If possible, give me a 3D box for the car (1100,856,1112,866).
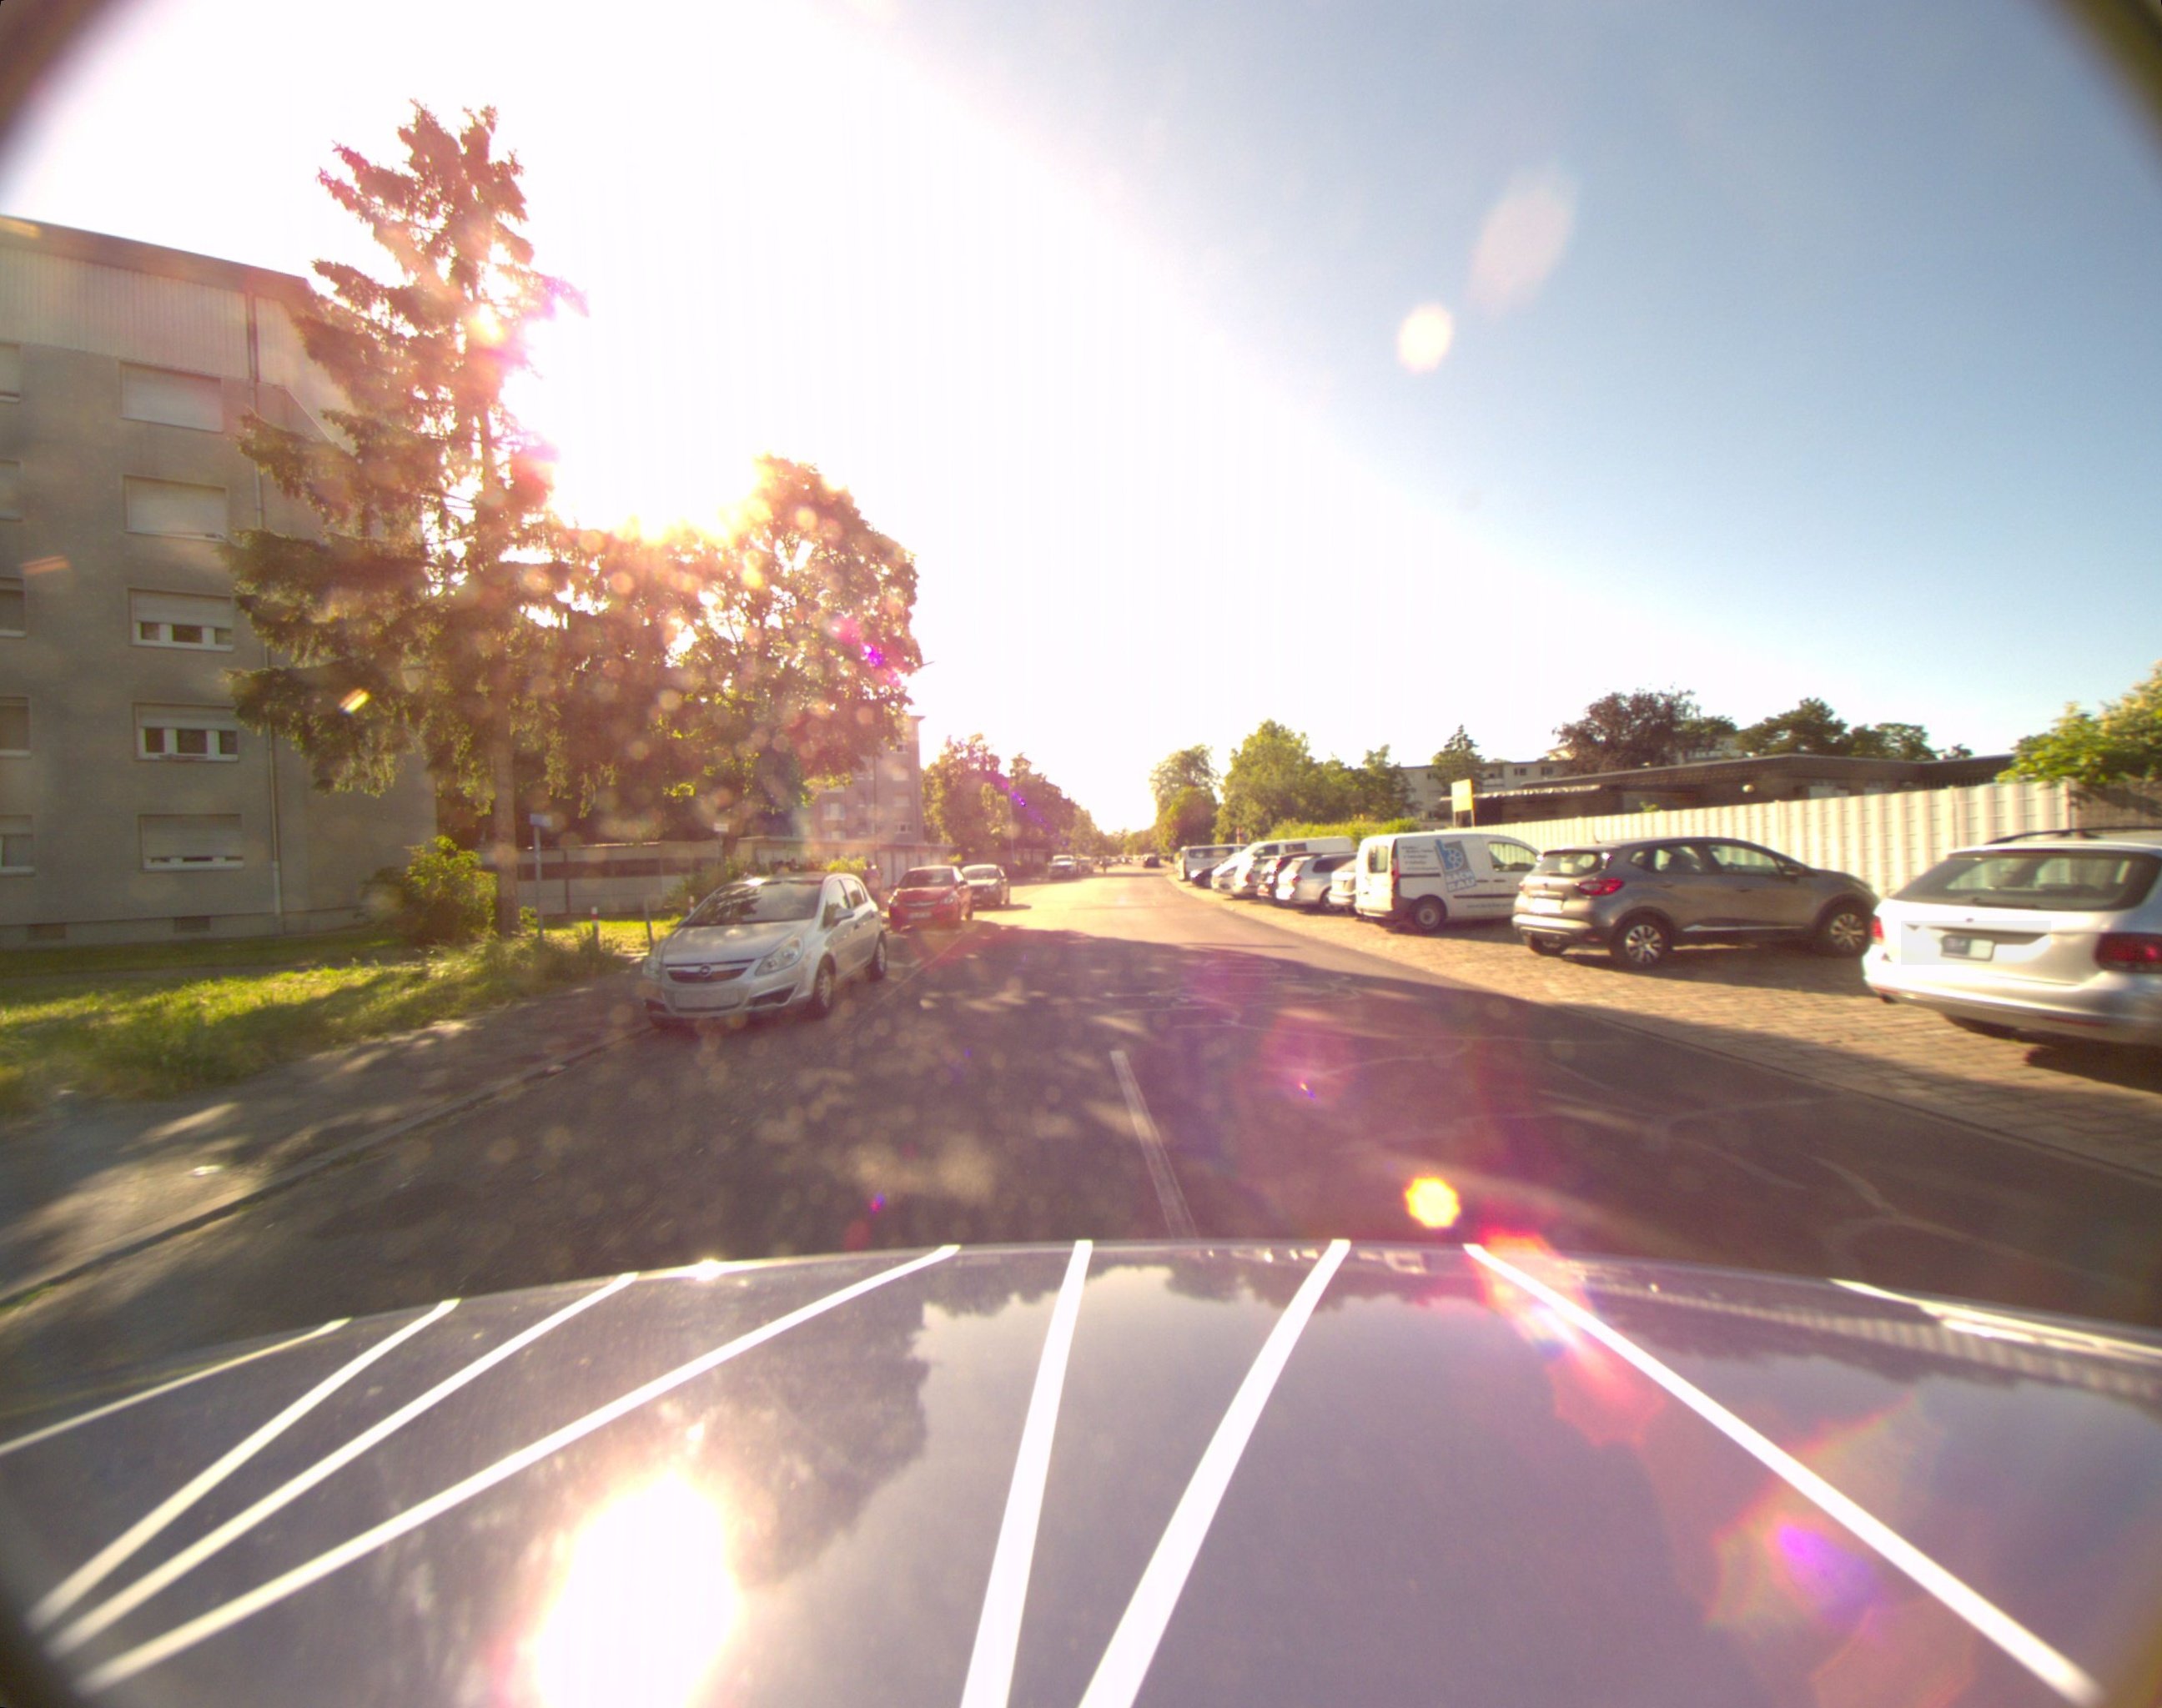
[{"bbox_3d":[4.011,1.040,121.121,1.732,1.462,3.814,-3,0,5],"label":"car"}]

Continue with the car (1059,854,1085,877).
[{"bbox_3d":[-0.742,1.001,65.801,1.837,1.780,4.557,-4,-1,4],"label":"car"}]

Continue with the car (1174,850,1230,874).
[{"bbox_3d":[9.293,0.595,58.710,3.996,1.524,1.832,-4,1,3],"label":"car"}]

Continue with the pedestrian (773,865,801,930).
[{"bbox_3d":[-7.115,1.044,18.417,0.487,1.556,0.469,-1,2,-4],"label":"pedestrian"}]

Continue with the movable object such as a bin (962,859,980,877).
[{"bbox_3d":[-8.661,1.131,59.848,1.077,1.339,0.866,-2,2,16],"label":"movable object such as a bin"}]

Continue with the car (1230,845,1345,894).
[{"bbox_3d":[8.048,0.586,29.919,3.996,1.573,1.884,-4,1,4],"label":"car"}]

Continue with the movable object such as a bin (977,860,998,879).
[{"bbox_3d":[-7.311,1.212,59.367,1.252,1.339,1.054,-2,1,16],"label":"movable object such as a bin"}]

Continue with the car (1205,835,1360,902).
[{"bbox_3d":[7.025,0.496,26.907,4.801,1.909,2.081,-4,0,-2],"label":"car"}]

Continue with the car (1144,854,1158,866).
[{"bbox_3d":[9.568,0.816,103.677,1.817,1.672,3.649,0,0,5],"label":"car"}]

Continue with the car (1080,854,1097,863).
[{"bbox_3d":[1.567,0.907,156.811,3.503,1.499,1.602,-4,1,-1],"label":"car"}]

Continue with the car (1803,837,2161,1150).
[{"bbox_3d":[7.668,0.665,4.923,4.148,1.484,1.925,-4,1,-1],"label":"car"}]

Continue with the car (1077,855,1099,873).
[{"bbox_3d":[0.671,0.986,74.754,1.808,1.584,4.024,-4,0,4],"label":"car"}]

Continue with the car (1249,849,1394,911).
[{"bbox_3d":[6.767,0.731,21.632,3.523,1.480,1.637,-4,-1,-2],"label":"car"}]

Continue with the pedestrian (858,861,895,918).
[{"bbox_3d":[-5.861,1.018,21.826,0.789,1.555,0.569,-4,1,0],"label":"pedestrian"}]

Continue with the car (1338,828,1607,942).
[{"bbox_3d":[7.198,0.539,14.259,3.988,1.770,1.925,-3,0,-3],"label":"car"}]

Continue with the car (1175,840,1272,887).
[{"bbox_3d":[7.148,0.463,38.438,4.489,1.965,2.000,-4,1,3],"label":"car"}]

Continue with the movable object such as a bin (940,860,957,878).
[{"bbox_3d":[-10.777,1.232,61.713,1.078,1.409,0.834,-2,2,10],"label":"movable object such as a bin"}]

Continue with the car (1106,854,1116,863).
[{"bbox_3d":[5.701,0.928,142.994,1.732,1.586,3.814,-3,0,5],"label":"car"}]

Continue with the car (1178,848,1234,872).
[{"bbox_3d":[10.060,0.454,61.601,4.197,1.646,1.846,-4,1,2],"label":"car"}]

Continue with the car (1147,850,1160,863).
[{"bbox_3d":[11.169,0.396,117.342,1.909,1.930,4.513,0,0,5],"label":"car"}]

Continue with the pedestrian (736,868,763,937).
[{"bbox_3d":[-7.409,1.076,16.975,0.362,1.495,0.500,-1,2,-3],"label":"pedestrian"}]

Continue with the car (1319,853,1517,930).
[{"bbox_3d":[7.251,0.761,16.558,3.524,1.480,1.727,-2,0,-4],"label":"car"}]

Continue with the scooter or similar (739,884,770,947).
[{"bbox_3d":[-6.820,1.254,15.855,0.401,1.220,1.251,-2,1,-31],"label":"scooter or similar"}]

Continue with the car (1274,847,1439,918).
[{"bbox_3d":[6.890,0.713,19.288,3.522,1.480,1.637,-4,0,3],"label":"car"}]

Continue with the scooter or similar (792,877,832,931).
[{"bbox_3d":[-6.520,1.204,18.445,0.624,1.220,0.905,-1,1,0],"label":"scooter or similar"}]

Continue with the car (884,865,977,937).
[{"bbox_3d":[-3.604,1.075,18.782,1.579,1.438,3.787,-3,1,-2],"label":"car"}]

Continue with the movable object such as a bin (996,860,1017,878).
[{"bbox_3d":[-5.766,1.145,58.748,1.252,1.339,1.054,-2,1,16],"label":"movable object such as a bin"}]

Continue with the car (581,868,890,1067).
[{"bbox_3d":[-3.466,1.021,8.489,1.736,1.534,3.787,-3,1,-2],"label":"car"}]

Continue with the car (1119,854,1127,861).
[{"bbox_3d":[9.792,0.774,177.981,1.732,1.586,3.814,-3,0,5],"label":"car"}]

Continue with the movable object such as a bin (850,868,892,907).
[{"bbox_3d":[-8.028,1.271,29.089,1.240,1.395,0.914,-2,1,2],"label":"movable object such as a bin"}]

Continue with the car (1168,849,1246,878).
[{"bbox_3d":[7.768,0.603,47.117,4.554,1.470,1.748,-4,0,4],"label":"car"}]

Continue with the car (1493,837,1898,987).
[{"bbox_3d":[7.646,0.652,9.689,3.825,1.523,1.788,-3,1,-5],"label":"car"}]

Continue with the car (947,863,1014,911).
[{"bbox_3d":[-3.375,1.085,26.125,1.651,1.395,3.882,-2,1,1],"label":"car"}]

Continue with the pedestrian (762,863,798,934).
[{"bbox_3d":[-6.876,1.005,17.387,0.482,1.556,0.597,0,2,10],"label":"pedestrian"}]

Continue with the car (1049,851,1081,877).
[{"bbox_3d":[-1.194,0.801,59.746,1.911,1.829,5.276,-4,-1,4],"label":"car"}]

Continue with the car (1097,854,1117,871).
[{"bbox_3d":[2.617,0.852,75.102,1.732,1.586,3.814,-3,0,5],"label":"car"}]

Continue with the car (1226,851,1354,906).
[{"bbox_3d":[6.622,0.761,24.306,3.524,1.438,1.636,-4,1,-4],"label":"car"}]

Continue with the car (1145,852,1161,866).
[{"bbox_3d":[8.867,0.613,93.779,1.784,1.564,4.425,-3,0,5],"label":"car"}]

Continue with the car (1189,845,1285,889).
[{"bbox_3d":[7.218,0.598,35.421,4.159,1.696,1.885,-4,1,11],"label":"car"}]
